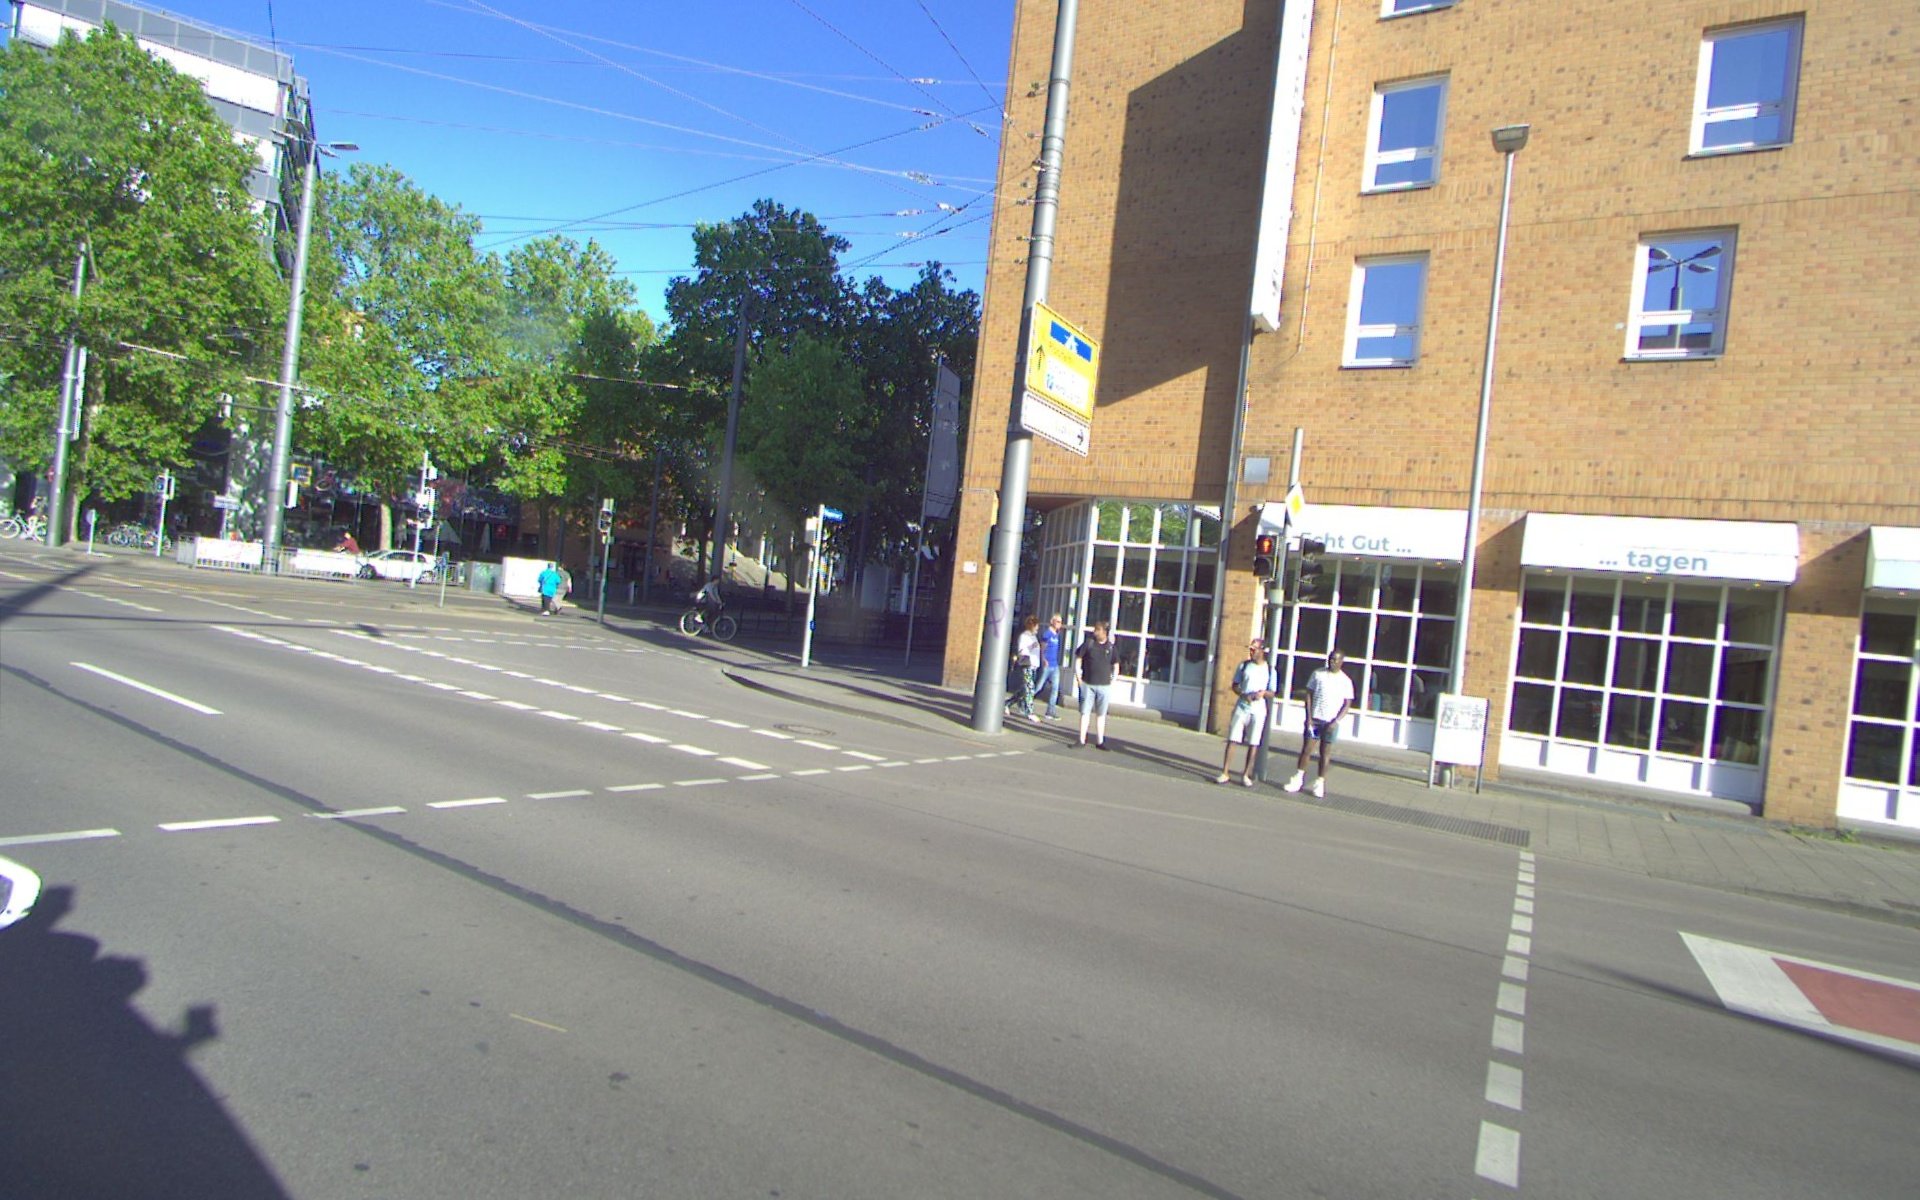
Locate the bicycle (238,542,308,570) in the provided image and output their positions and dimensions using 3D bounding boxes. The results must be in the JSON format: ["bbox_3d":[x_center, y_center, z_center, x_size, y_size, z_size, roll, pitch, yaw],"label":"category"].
[{"bbox_3d":[-37.657,-2.403,55.204,3.013,1.127,0.830,7,0,-26],"label":"bicycle"}]

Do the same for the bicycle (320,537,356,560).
[{"bbox_3d":[-33.816,-2.798,54.749,0.865,1.105,2.921,7,0,-17],"label":"bicycle"}]

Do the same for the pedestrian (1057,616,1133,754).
[{"bbox_3d":[1.866,1.163,13.969,0.683,1.789,0.573,7,0,-10],"label":"pedestrian"}]

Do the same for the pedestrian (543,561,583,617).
[{"bbox_3d":[-11.899,-0.323,30.147,0.729,1.558,0.652,6,-1,24],"label":"pedestrian"}]

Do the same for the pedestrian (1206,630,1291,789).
[{"bbox_3d":[3.564,1.341,12.469,0.719,1.857,0.497,5,2,-4],"label":"pedestrian"}]

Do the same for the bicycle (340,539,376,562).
[{"bbox_3d":[-32.978,-2.682,55.151,0.865,1.105,2.921,7,0,-17],"label":"bicycle"}]

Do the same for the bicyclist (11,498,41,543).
[{"bbox_3d":[-37.546,-3.199,40.432,0.562,1.716,0.741,6,1,43],"label":"bicyclist"}]

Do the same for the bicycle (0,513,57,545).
[{"bbox_3d":[-37.582,-2.852,40.431,0.509,1.034,1.849,6,0,42],"label":"bicycle"}]

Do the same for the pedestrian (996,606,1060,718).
[{"bbox_3d":[1.100,0.998,16.205,0.648,1.724,0.562,6,-1,34],"label":"pedestrian"}]

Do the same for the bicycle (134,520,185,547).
[{"bbox_3d":[-36.295,-2.995,45.623,0.385,0.998,1.700,7,0,45],"label":"bicycle"}]

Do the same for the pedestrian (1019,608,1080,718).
[{"bbox_3d":[1.491,1.049,16.691,0.594,1.747,0.601,6,-1,39],"label":"pedestrian"}]

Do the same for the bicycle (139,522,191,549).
[{"bbox_3d":[-35.326,-2.855,44.705,0.385,0.998,1.700,7,0,45],"label":"bicycle"}]

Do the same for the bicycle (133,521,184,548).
[{"bbox_3d":[-36.590,-2.978,45.941,0.385,0.998,1.700,7,0,45],"label":"bicycle"}]

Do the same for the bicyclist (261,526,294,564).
[{"bbox_3d":[-37.466,-3.002,55.206,1.215,1.955,0.830,6,0,-26],"label":"bicyclist"}]

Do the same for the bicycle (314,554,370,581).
[{"bbox_3d":[-26.315,-1.382,42.855,0.642,0.921,1.853,7,0,35],"label":"bicycle"}]

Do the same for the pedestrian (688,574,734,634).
[{"bbox_3d":[-7.194,0.115,29.117,0.823,1.613,0.772,6,-1,24],"label":"pedestrian"}]

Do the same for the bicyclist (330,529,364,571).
[{"bbox_3d":[-26.172,-2.121,42.942,0.627,1.635,0.926,7,0,35],"label":"bicyclist"}]

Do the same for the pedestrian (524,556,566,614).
[{"bbox_3d":[-12.052,-0.423,29.228,0.729,1.558,0.677,6,-1,24],"label":"pedestrian"}]

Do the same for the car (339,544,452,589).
[{"bbox_3d":[-26.065,-1.533,46.569,1.969,1.503,3.990,6,-2,35],"label":"car"}]

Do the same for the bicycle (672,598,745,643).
[{"bbox_3d":[-7.269,0.589,29.097,1.889,1.064,0.792,6,-1,25],"label":"bicycle"}]

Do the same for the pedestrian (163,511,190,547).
[{"bbox_3d":[-44.855,-4.059,57.575,0.840,1.873,0.805,8,-2,-25],"label":"pedestrian"}]

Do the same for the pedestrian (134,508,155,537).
[{"bbox_3d":[-46.578,-4.399,57.441,0.771,1.546,0.558,6,1,-35],"label":"pedestrian"}]

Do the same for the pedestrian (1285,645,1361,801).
[{"bbox_3d":[4.398,1.474,12.203,0.402,1.798,0.572,3,2,-39],"label":"pedestrian"}]
